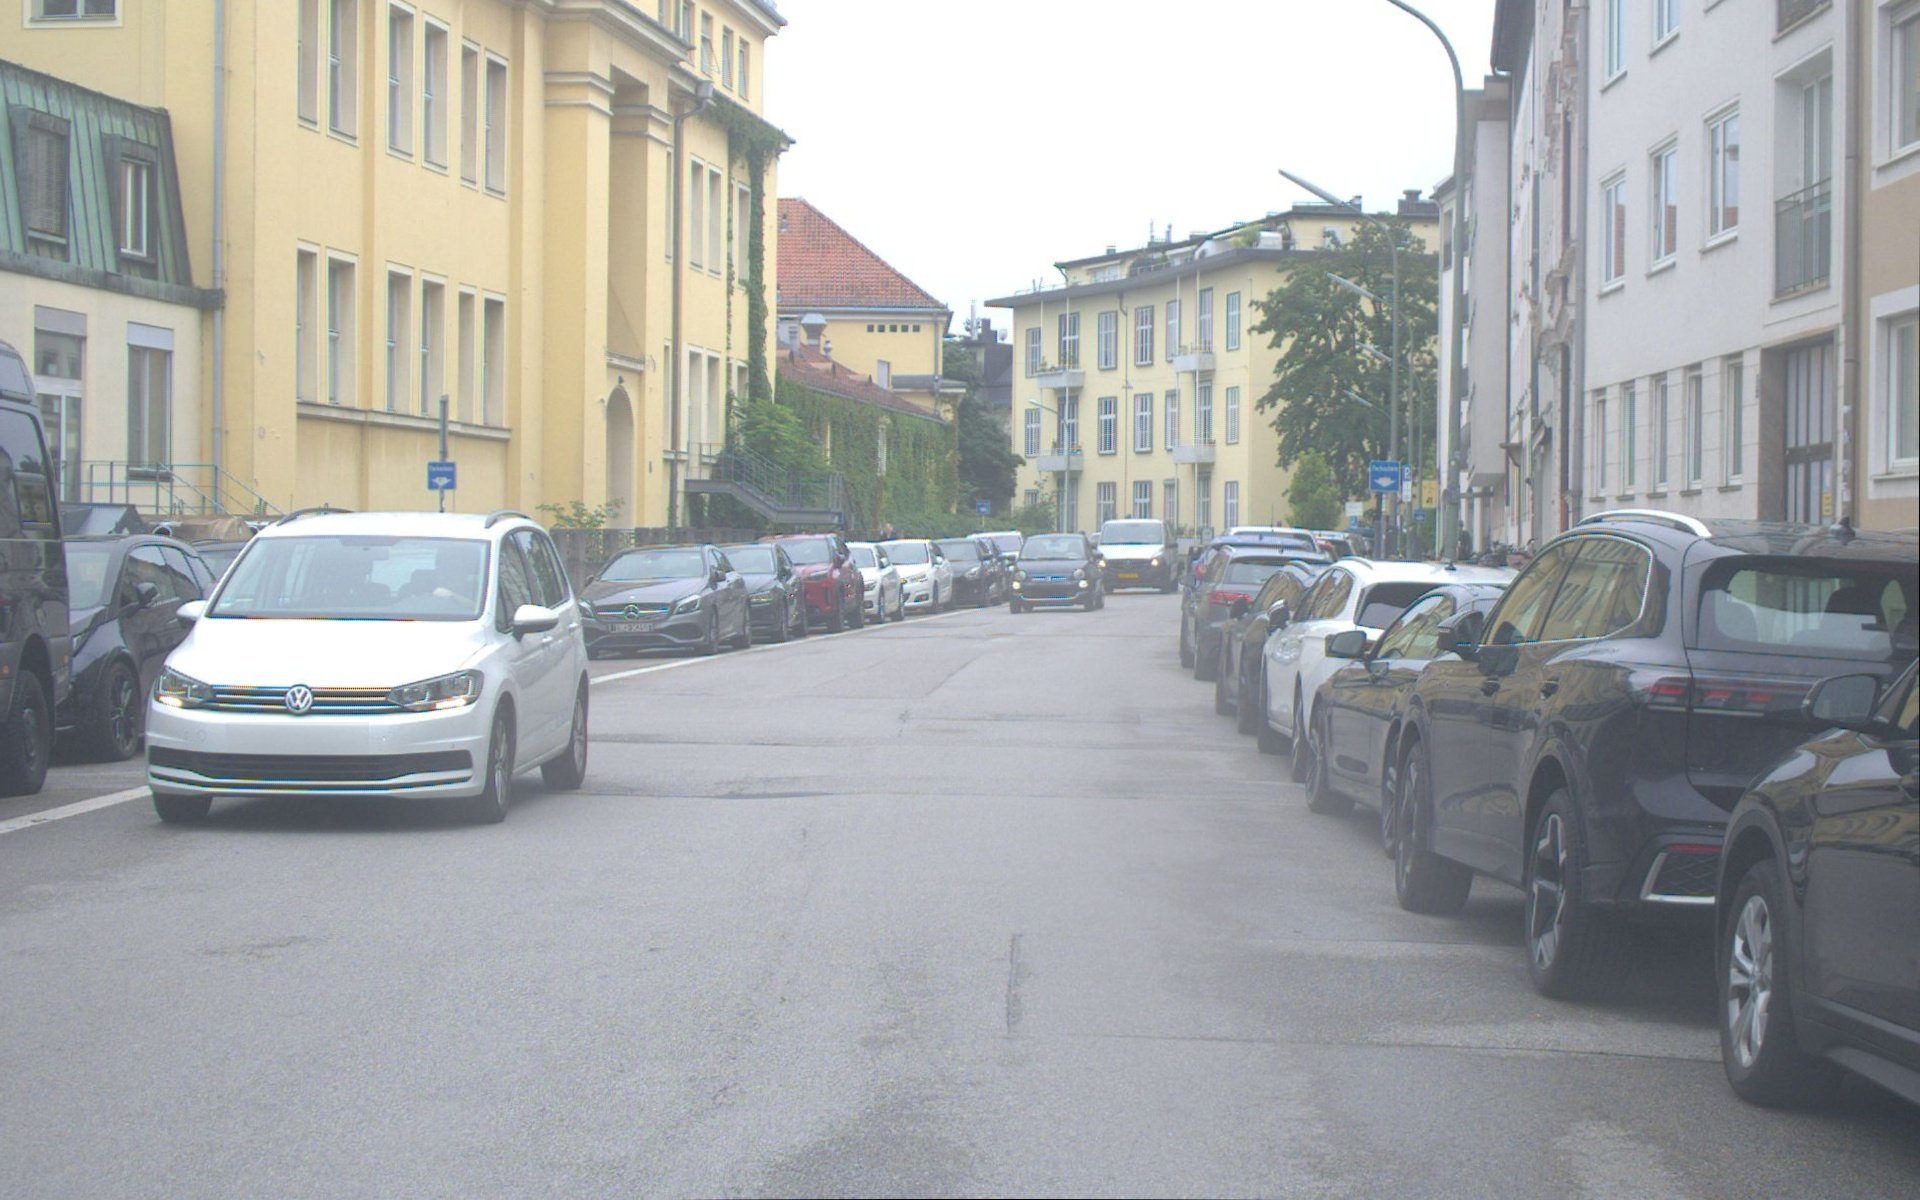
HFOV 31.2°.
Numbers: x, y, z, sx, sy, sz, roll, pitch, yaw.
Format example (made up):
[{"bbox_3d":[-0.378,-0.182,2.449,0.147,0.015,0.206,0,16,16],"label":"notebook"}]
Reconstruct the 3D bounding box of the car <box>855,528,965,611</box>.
[{"bbox_3d":[-0.956,-0.614,66.979,1.698,1.439,3.508,2,2,6],"label":"car"}]

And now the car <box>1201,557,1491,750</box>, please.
[{"bbox_3d":[3.172,0.390,29.082,1.887,1.405,4.431,2,1,0],"label":"car"}]

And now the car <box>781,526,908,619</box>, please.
[{"bbox_3d":[-1.977,-0.505,59.859,1.698,1.439,3.508,2,2,6],"label":"car"}]

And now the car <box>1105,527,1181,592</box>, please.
[{"bbox_3d":[4.528,-1.011,84.874,1.698,1.439,3.508,2,2,5],"label":"car"}]

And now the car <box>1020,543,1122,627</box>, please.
[{"bbox_3d":[2.158,-0.314,66.143,1.698,1.439,3.508,2,2,5],"label":"car"}]

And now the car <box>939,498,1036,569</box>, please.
[{"bbox_3d":[0.688,-1.606,82.173,1.994,1.543,4.000,2,2,5],"label":"car"}]

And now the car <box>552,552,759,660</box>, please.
[{"bbox_3d":[-3.875,0.046,44.415,1.900,1.143,4.230,2,2,5],"label":"car"}]

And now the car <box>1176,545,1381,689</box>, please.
[{"bbox_3d":[3.440,0.137,37.884,1.887,1.405,4.431,2,1,1],"label":"car"}]

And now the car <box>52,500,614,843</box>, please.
[{"bbox_3d":[-3.255,0.356,18.817,2.026,1.616,4.505,-1,0,3],"label":"car"}]

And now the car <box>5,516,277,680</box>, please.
[{"bbox_3d":[-9.211,-0.067,38.931,1.720,1.655,3.747,3,2,8],"label":"car"}]

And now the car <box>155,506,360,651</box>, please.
[{"bbox_3d":[-8.662,-0.296,42.602,1.606,1.655,2.808,3,2,8],"label":"car"}]

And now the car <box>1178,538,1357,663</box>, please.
[{"bbox_3d":[3.805,-0.037,43.205,1.887,1.405,4.431,2,1,1],"label":"car"}]

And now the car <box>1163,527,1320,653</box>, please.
[{"bbox_3d":[3.928,-0.183,48.611,1.887,1.624,4.431,2,1,1],"label":"car"}]

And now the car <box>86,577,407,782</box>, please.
[{"bbox_3d":[-5.989,0.617,29.265,1.699,1.448,3.741,2,2,4],"label":"car"}]

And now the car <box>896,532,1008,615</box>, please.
[{"bbox_3d":[-0.144,-0.586,72.723,1.994,1.543,4.000,2,2,5],"label":"car"}]

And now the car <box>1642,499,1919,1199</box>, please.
[{"bbox_3d":[2.986,0.630,7.825,1.830,1.596,4.267,2,2,-2],"label":"car"}]

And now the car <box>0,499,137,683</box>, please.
[{"bbox_3d":[-9.939,-0.136,34.325,1.994,1.681,3.999,3,2,8],"label":"car"}]

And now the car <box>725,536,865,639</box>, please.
[{"bbox_3d":[-2.557,-0.221,54.025,1.698,1.439,3.508,2,2,5],"label":"car"}]

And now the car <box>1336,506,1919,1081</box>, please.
[{"bbox_3d":[2.708,0.527,12.485,1.964,1.596,4.672,2,2,-2],"label":"car"}]

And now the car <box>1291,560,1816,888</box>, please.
[{"bbox_3d":[2.942,0.549,17.983,1.887,1.317,4.275,2,2,-1],"label":"car"}]

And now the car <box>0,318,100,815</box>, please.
[{"bbox_3d":[-6.444,-0.167,17.856,2.422,2.706,5.953,0,0,0],"label":"car"}]

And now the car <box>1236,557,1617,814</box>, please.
[{"bbox_3d":[3.059,0.495,23.520,1.887,1.470,4.744,2,1,0],"label":"car"}]

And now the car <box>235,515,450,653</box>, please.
[{"bbox_3d":[-8.235,-0.255,46.107,1.720,1.655,3.747,3,2,8],"label":"car"}]
